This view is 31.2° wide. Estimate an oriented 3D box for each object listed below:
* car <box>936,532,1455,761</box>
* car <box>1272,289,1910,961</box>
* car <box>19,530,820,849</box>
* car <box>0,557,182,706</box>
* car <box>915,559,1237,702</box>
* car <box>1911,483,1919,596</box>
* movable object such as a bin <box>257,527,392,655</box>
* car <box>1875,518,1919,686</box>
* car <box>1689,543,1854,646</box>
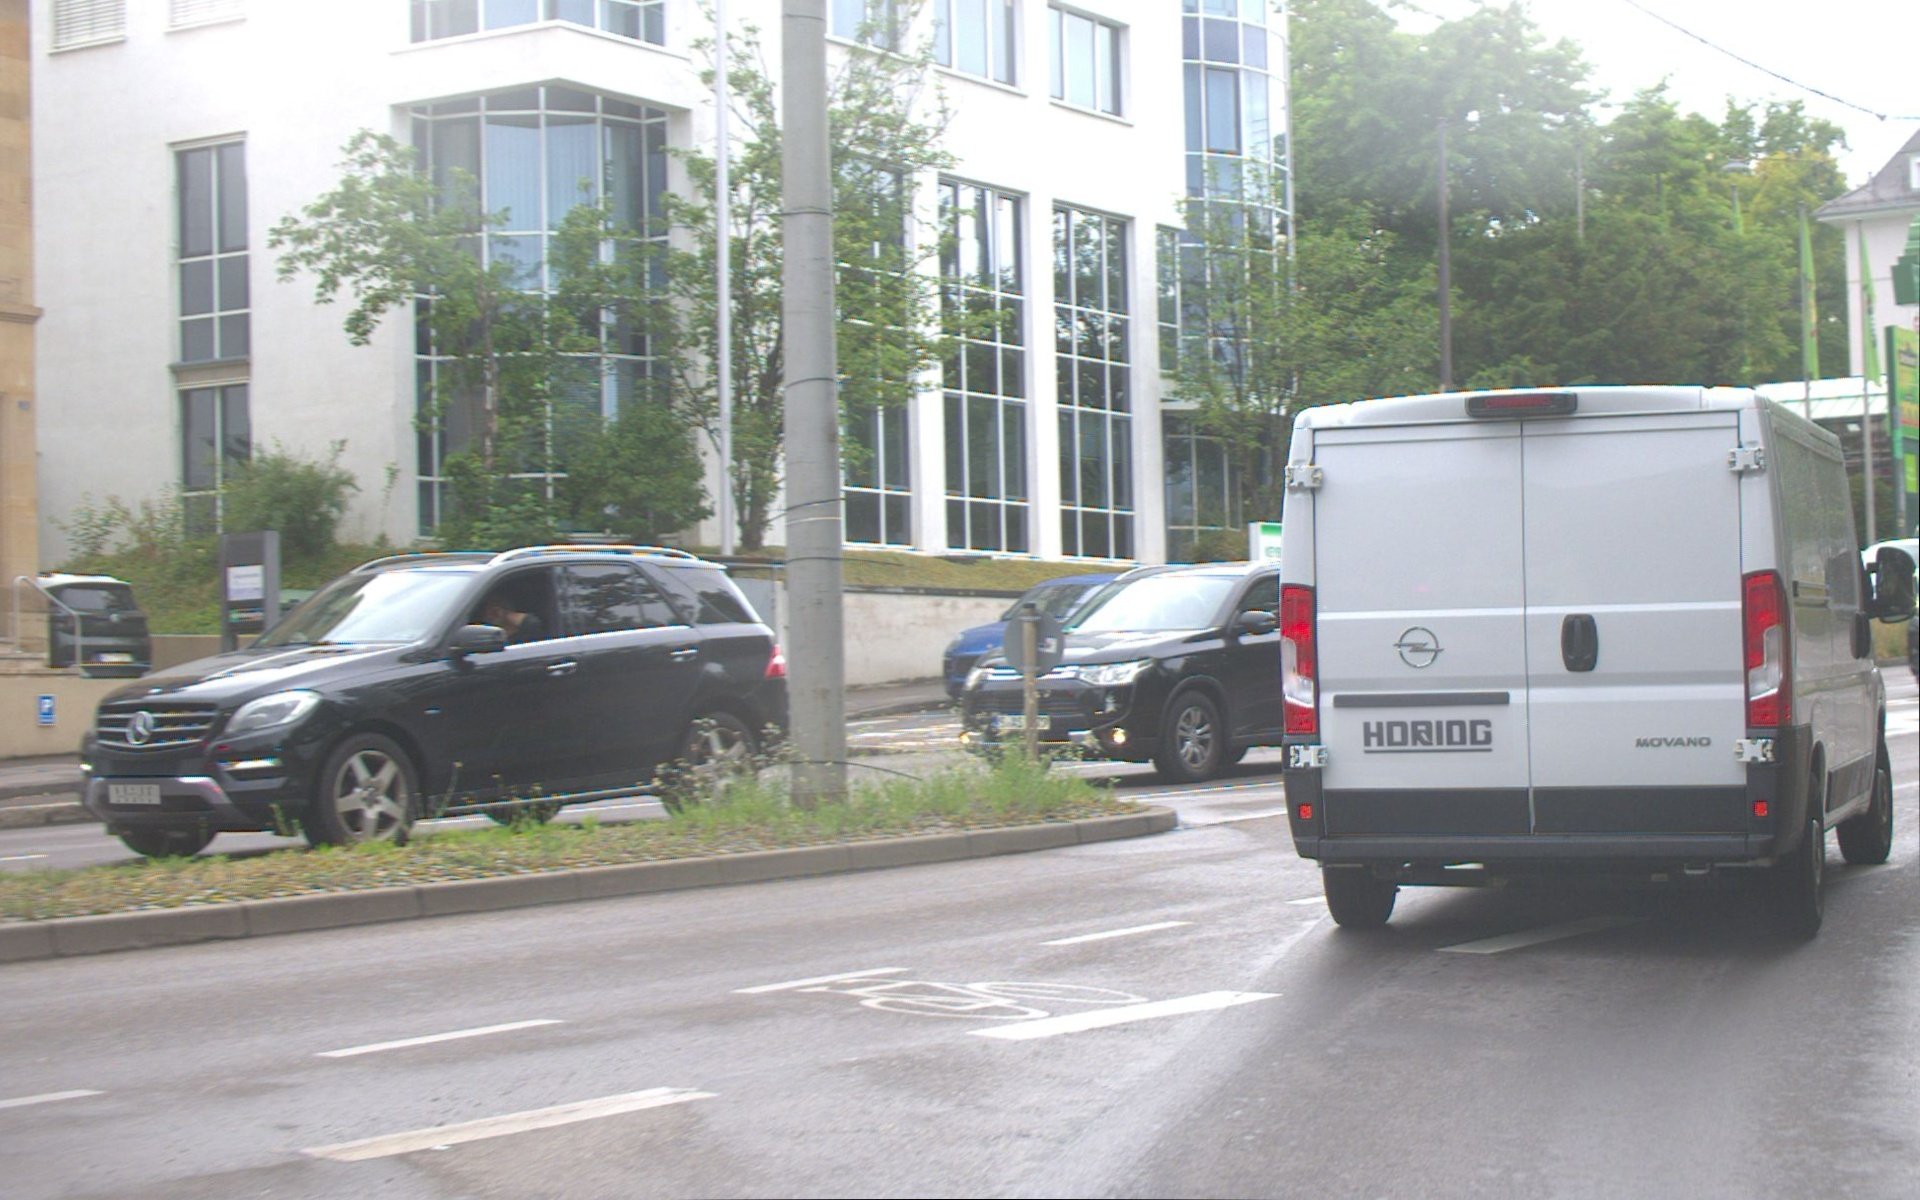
[{"bbox_3d":[1.926,0.397,26.662,1.692,1.599,4.718,-3,-3,37],"label":"car"},{"bbox_3d":[3.023,0.012,15.485,2.052,2.508,4.939,2,2,19],"label":"car"},{"bbox_3d":[-3.109,0.479,20.667,1.959,1.691,4.615,-3,-1,38],"label":"car"},{"bbox_3d":[-11.119,0.411,41.522,3.048,1.670,1.712,-3,-3,33],"label":"car"},{"bbox_3d":[1.514,0.347,42.859,1.691,1.529,4.663,-3,0,34],"label":"car"},{"bbox_3d":[22.979,-1.444,76.293,1.966,2.435,5.646,-3,0,32],"label":"car"},{"bbox_3d":[-7.835,-0.101,42.374,1.246,1.536,1.039,-2,-1,31],"label":"movable object such as a bin"},{"bbox_3d":[12.585,-0.051,39.842,2.019,1.860,5.031,-3,-1,37],"label":"car"},{"bbox_3d":[14.831,-0.118,62.750,1.595,1.690,3.774,-3,0,35],"label":"car"}]
